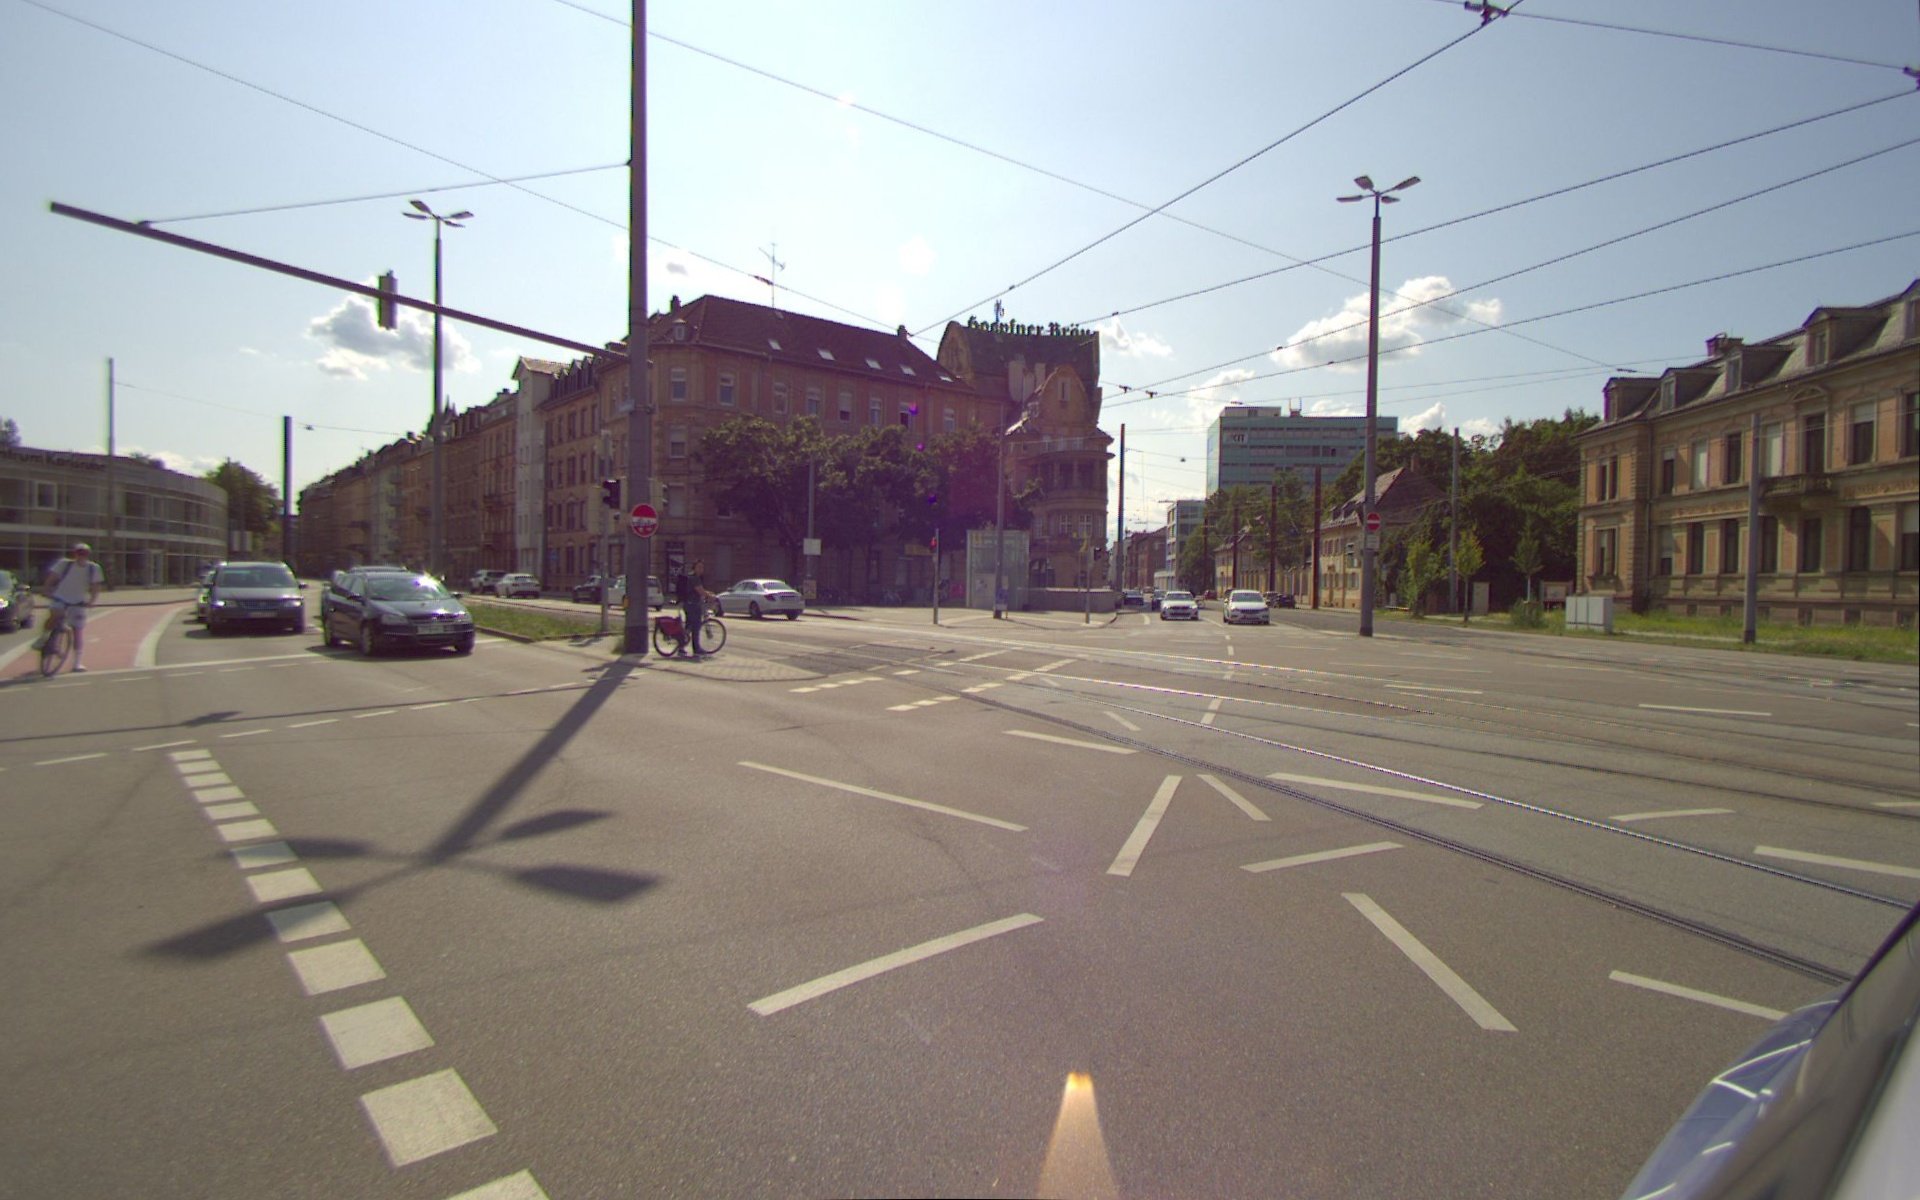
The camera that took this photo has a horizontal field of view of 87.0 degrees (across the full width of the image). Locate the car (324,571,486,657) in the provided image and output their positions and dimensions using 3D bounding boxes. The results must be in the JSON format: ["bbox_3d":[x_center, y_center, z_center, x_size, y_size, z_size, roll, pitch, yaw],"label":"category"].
[{"bbox_3d":[-10.264,0.174,18.605,1.715,1.390,3.632,-1,3,-44],"label":"car"}]

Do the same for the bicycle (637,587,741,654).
[{"bbox_3d":[-4.889,0.366,18.334,0.636,1.139,1.759,2,0,39],"label":"bicycle"}]

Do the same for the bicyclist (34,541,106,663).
[{"bbox_3d":[-12.924,0.008,14.701,0.749,1.704,0.759,-1,2,-44],"label":"bicyclist"}]

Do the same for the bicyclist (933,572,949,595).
[{"bbox_3d":[-1.060,-0.942,56.454,0.623,1.235,0.926,0,2,-21],"label":"bicyclist"}]

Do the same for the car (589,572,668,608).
[{"bbox_3d":[-14.412,-0.458,43.880,1.628,1.439,3.989,0,2,-45],"label":"car"}]

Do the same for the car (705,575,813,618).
[{"bbox_3d":[-7.578,-0.178,37.826,1.902,1.473,4.753,0,1,-40],"label":"car"}]

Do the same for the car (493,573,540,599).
[{"bbox_3d":[-25.754,-0.823,58.753,1.820,1.437,3.679,1,0,-35],"label":"car"}]

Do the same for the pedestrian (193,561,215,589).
[{"bbox_3d":[-47.900,-1.571,64.143,0.859,1.759,0.878,2,-1,-23],"label":"pedestrian"}]

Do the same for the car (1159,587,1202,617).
[{"bbox_3d":[11.172,0.071,51.157,2.015,1.448,4.521,0,1,13],"label":"car"}]

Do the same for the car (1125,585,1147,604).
[{"bbox_3d":[16.914,-0.549,97.275,1.690,1.704,3.922,1,0,4],"label":"car"}]

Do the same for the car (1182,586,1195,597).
[{"bbox_3d":[39.921,-1.554,177.072,1.967,1.838,3.990,1,1,9],"label":"car"}]

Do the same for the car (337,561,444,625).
[{"bbox_3d":[-14.446,-0.244,25.583,1.665,1.479,3.964,-1,3,-40],"label":"car"}]

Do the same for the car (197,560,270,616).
[{"bbox_3d":[-20.785,-0.400,28.992,1.601,1.479,3.969,-1,3,-36],"label":"car"}]

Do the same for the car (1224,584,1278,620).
[{"bbox_3d":[12.836,0.038,44.514,1.967,1.502,3.973,1,1,20],"label":"car"}]

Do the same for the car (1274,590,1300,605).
[{"bbox_3d":[32.074,-0.249,99.380,1.969,1.393,3.986,1,1,12],"label":"car"}]

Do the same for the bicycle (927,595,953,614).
[{"bbox_3d":[-1.139,0.252,56.636,0.832,0.982,1.965,0,1,-21],"label":"bicycle"}]

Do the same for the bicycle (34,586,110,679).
[{"bbox_3d":[-12.918,0.422,14.694,0.749,1.207,2.146,-1,2,-43],"label":"bicycle"}]

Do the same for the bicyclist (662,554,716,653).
[{"bbox_3d":[-4.911,0.056,18.344,0.637,1.760,0.652,2,0,39],"label":"bicyclist"}]

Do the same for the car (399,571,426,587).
[{"bbox_3d":[-58.360,-2.255,107.843,1.809,1.673,3.997,1,0,-38],"label":"car"}]

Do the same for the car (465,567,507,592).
[{"bbox_3d":[-32.215,-1.376,68.739,1.808,1.673,3.999,1,0,-36],"label":"car"}]

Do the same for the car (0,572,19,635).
[{"bbox_3d":[-22.371,0.037,22.659,1.713,1.304,3.995,-1,3,-41],"label":"car"}]

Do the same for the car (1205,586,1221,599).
[{"bbox_3d":[37.397,-1.106,149.539,1.967,1.838,3.990,1,1,9],"label":"car"}]

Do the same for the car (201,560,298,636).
[{"bbox_3d":[-16.500,-0.125,23.526,1.710,1.592,4.001,-1,2,-35],"label":"car"}]
